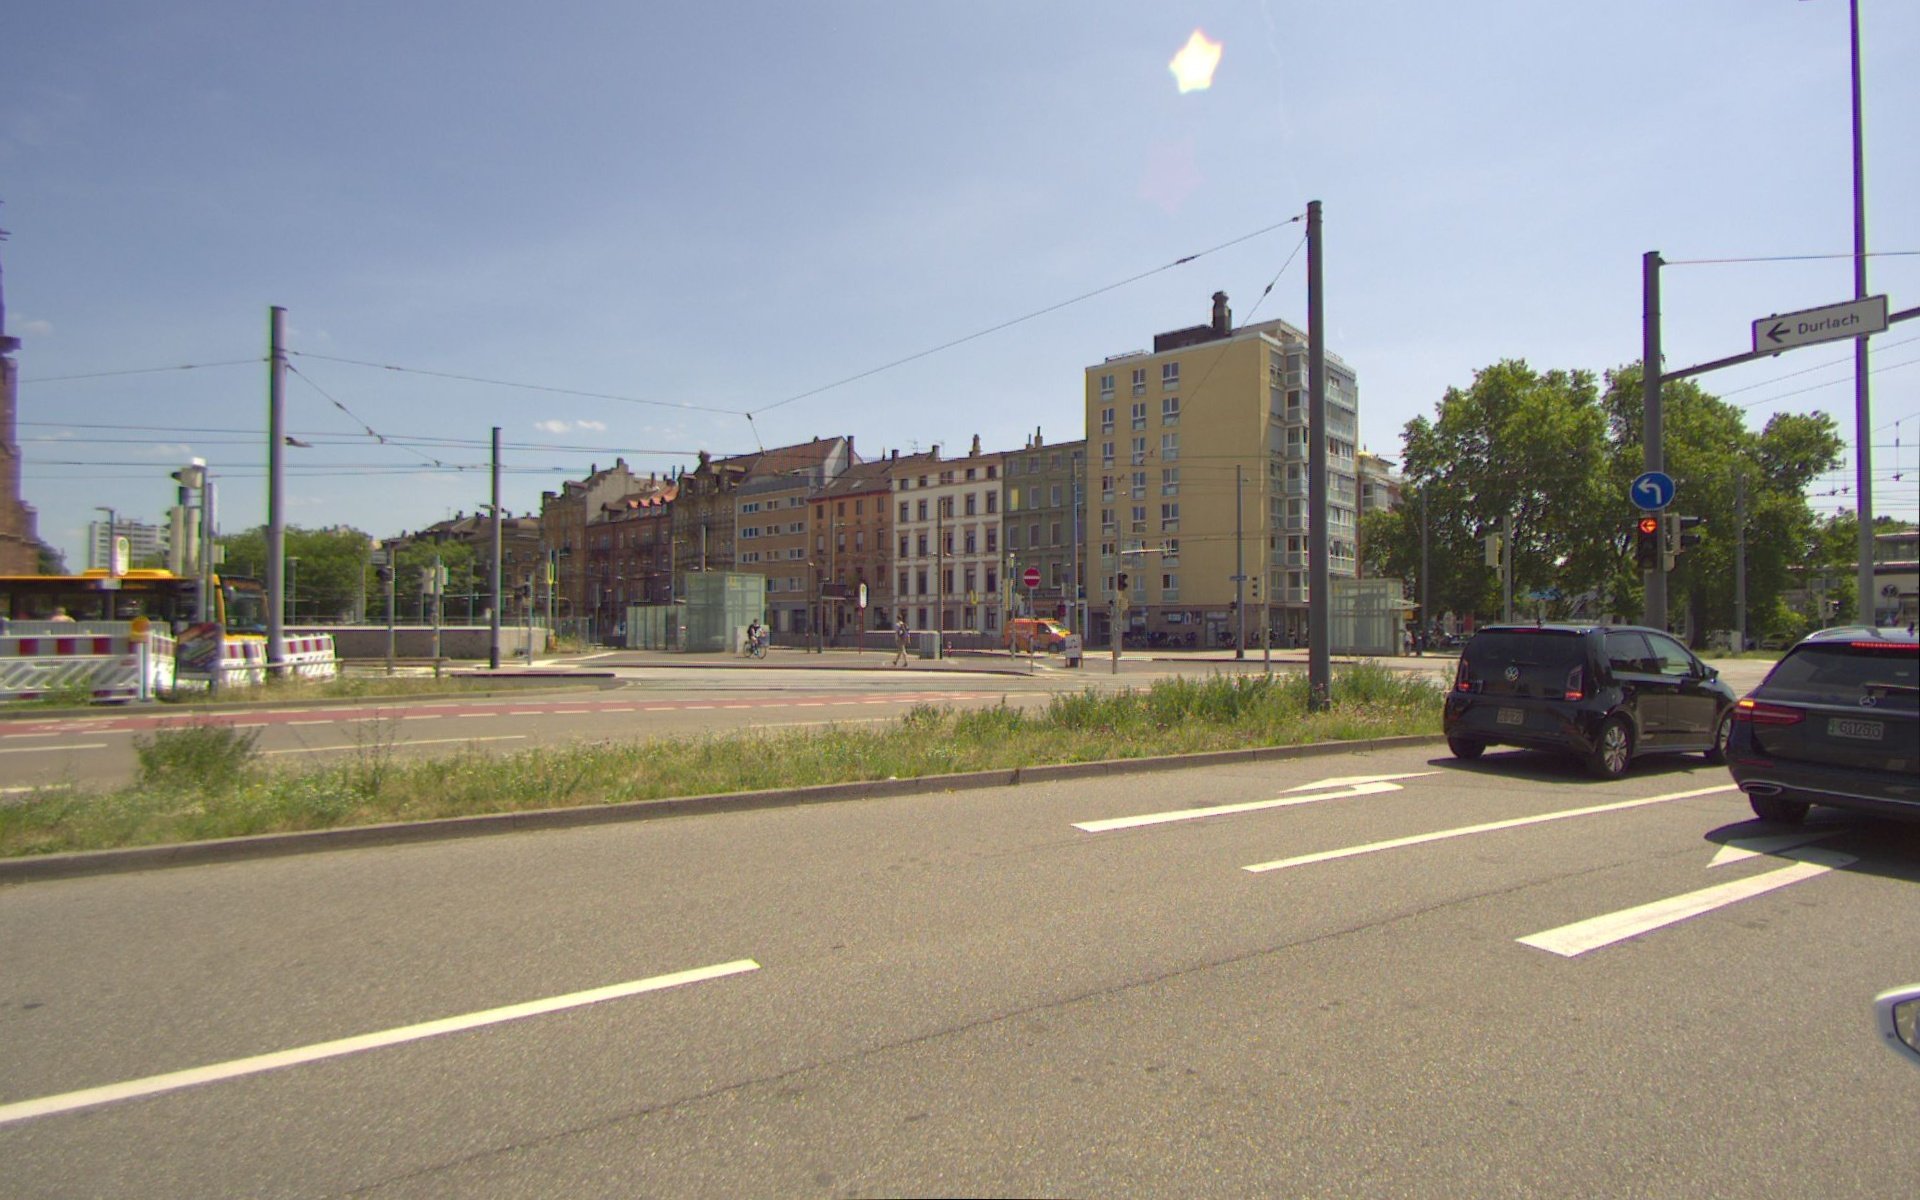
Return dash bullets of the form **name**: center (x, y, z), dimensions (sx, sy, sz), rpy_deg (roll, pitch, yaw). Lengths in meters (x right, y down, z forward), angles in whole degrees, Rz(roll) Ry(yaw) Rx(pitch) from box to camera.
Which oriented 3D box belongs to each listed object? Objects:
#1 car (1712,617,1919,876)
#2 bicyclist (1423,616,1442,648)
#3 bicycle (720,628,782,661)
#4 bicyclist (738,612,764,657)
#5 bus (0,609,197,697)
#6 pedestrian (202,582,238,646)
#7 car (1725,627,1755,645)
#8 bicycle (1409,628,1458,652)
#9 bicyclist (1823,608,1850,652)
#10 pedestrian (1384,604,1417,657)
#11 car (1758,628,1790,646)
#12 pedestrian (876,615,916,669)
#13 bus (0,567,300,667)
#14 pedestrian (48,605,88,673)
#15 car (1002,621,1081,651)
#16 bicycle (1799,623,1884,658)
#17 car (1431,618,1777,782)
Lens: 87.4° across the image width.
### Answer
- **car**: center (7.642, 0.946, 7.519), dimensions (4.535, 1.577, 1.708), rpy_deg (1, -2, -32)
- **bicyclist**: center (29.647, 1.981, 63.010), dimensions (0.621, 1.992, 0.839), rpy_deg (-1, 0, -38)
- **bicycle**: center (-9.872, 2.075, 47.308), dimensions (3.411, 1.466, 0.874), rpy_deg (-1, 0, 38)
- **bicyclist**: center (-9.824, 1.607, 47.240), dimensions (0.784, 2.040, 0.859), rpy_deg (-1, 0, 38)
- **bus**: center (-15.061, 0.823, 15.042), dimensions (5.768, 1.266, 1.234), rpy_deg (-1, 0, -39)
- **pedestrian**: center (-23.647, 0.446, 32.107), dimensions (0.651, 2.022, 0.611), rpy_deg (-1, 0, -1)
- **car**: center (73.128, 3.367, 94.141), dimensions (3.405, 1.528, 1.414), rpy_deg (-1, 0, -37)
- **bicycle**: center (29.664, 2.490, 62.997), dimensions (0.664, 1.404, 2.754), rpy_deg (-1, 0, -38)
- **bicyclist**: center (39.696, 1.339, 45.481), dimensions (0.653, 1.964, 0.759), rpy_deg (-1, 0, -32)
- **pedestrian**: center (25.296, 1.742, 57.702), dimensions (1.322, 2.977, 1.206), rpy_deg (-1, 0, -34)
- **car**: center (74.025, 3.366, 91.295), dimensions (3.389, 1.437, 1.499), rpy_deg (-1, 0, -37)
- **pedestrian**: center (-2.373, 1.551, 37.407), dimensions (1.163, 1.959, 0.900), rpy_deg (-1, 0, 33)
- **bus**: center (-29.207, 0.585, 33.133), dimensions (12.020, 3.081, 3.737), rpy_deg (0, -2, -5)
- **pedestrian**: center (-27.089, 1.184, 30.506), dimensions (0.650, 2.022, 0.611), rpy_deg (-1, 0, 9)
- **car**: center (4.727, 2.067, 58.582), dimensions (4.575, 1.635, 1.665), rpy_deg (-1, 0, 45)
- **bicycle**: center (39.774, 1.794, 45.376), dimensions (0.627, 1.483, 2.810), rpy_deg (-1, 0, -32)
- **car**: center (7.019, 0.966, 10.854), dimensions (3.955, 1.482, 1.613), rpy_deg (1, -2, -32)
